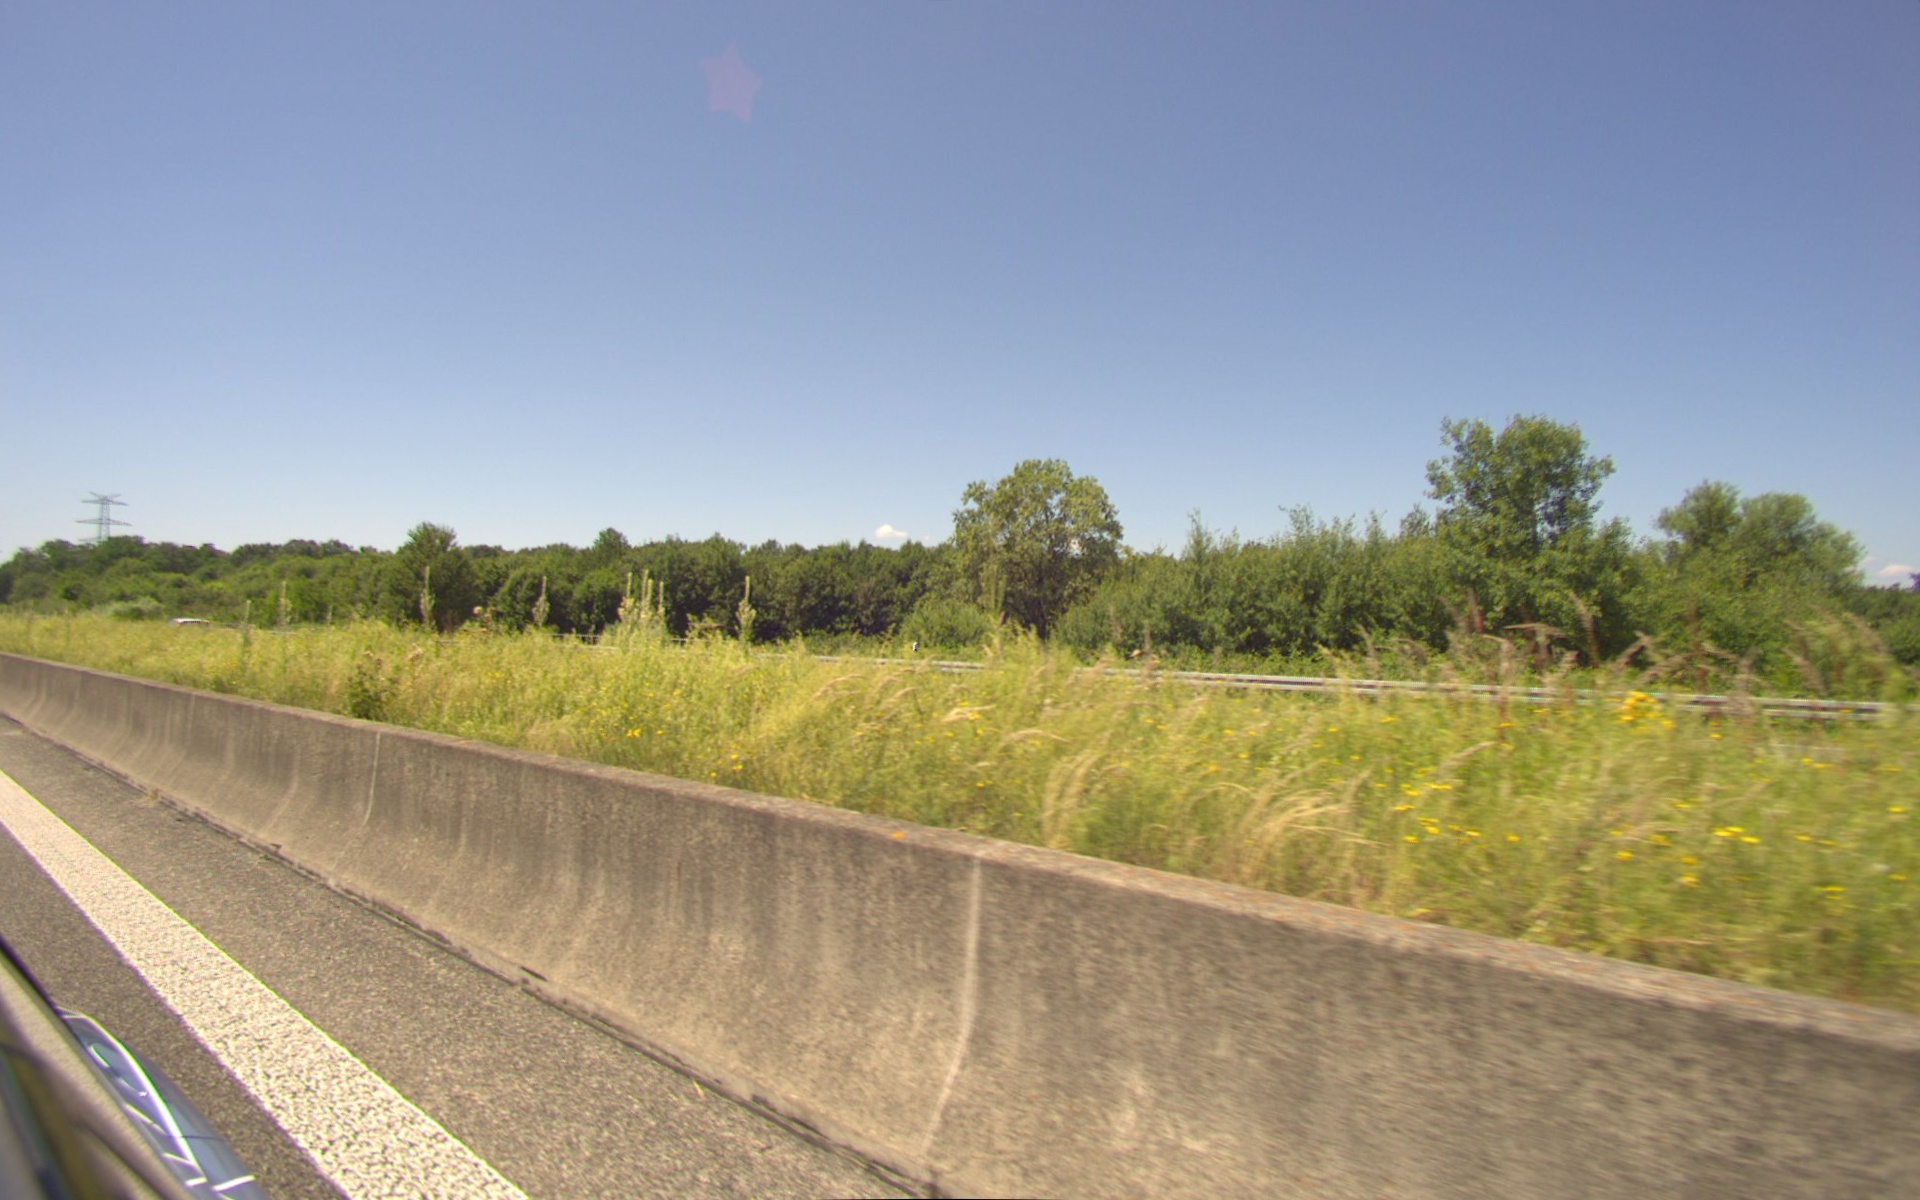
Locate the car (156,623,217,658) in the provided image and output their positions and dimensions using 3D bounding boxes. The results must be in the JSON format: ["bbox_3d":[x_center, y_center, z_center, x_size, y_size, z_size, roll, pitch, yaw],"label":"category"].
[{"bbox_3d":[-38.787,1.988,50.705,3.998,1.657,1.631,-1,-2,41],"label":"car"}]
